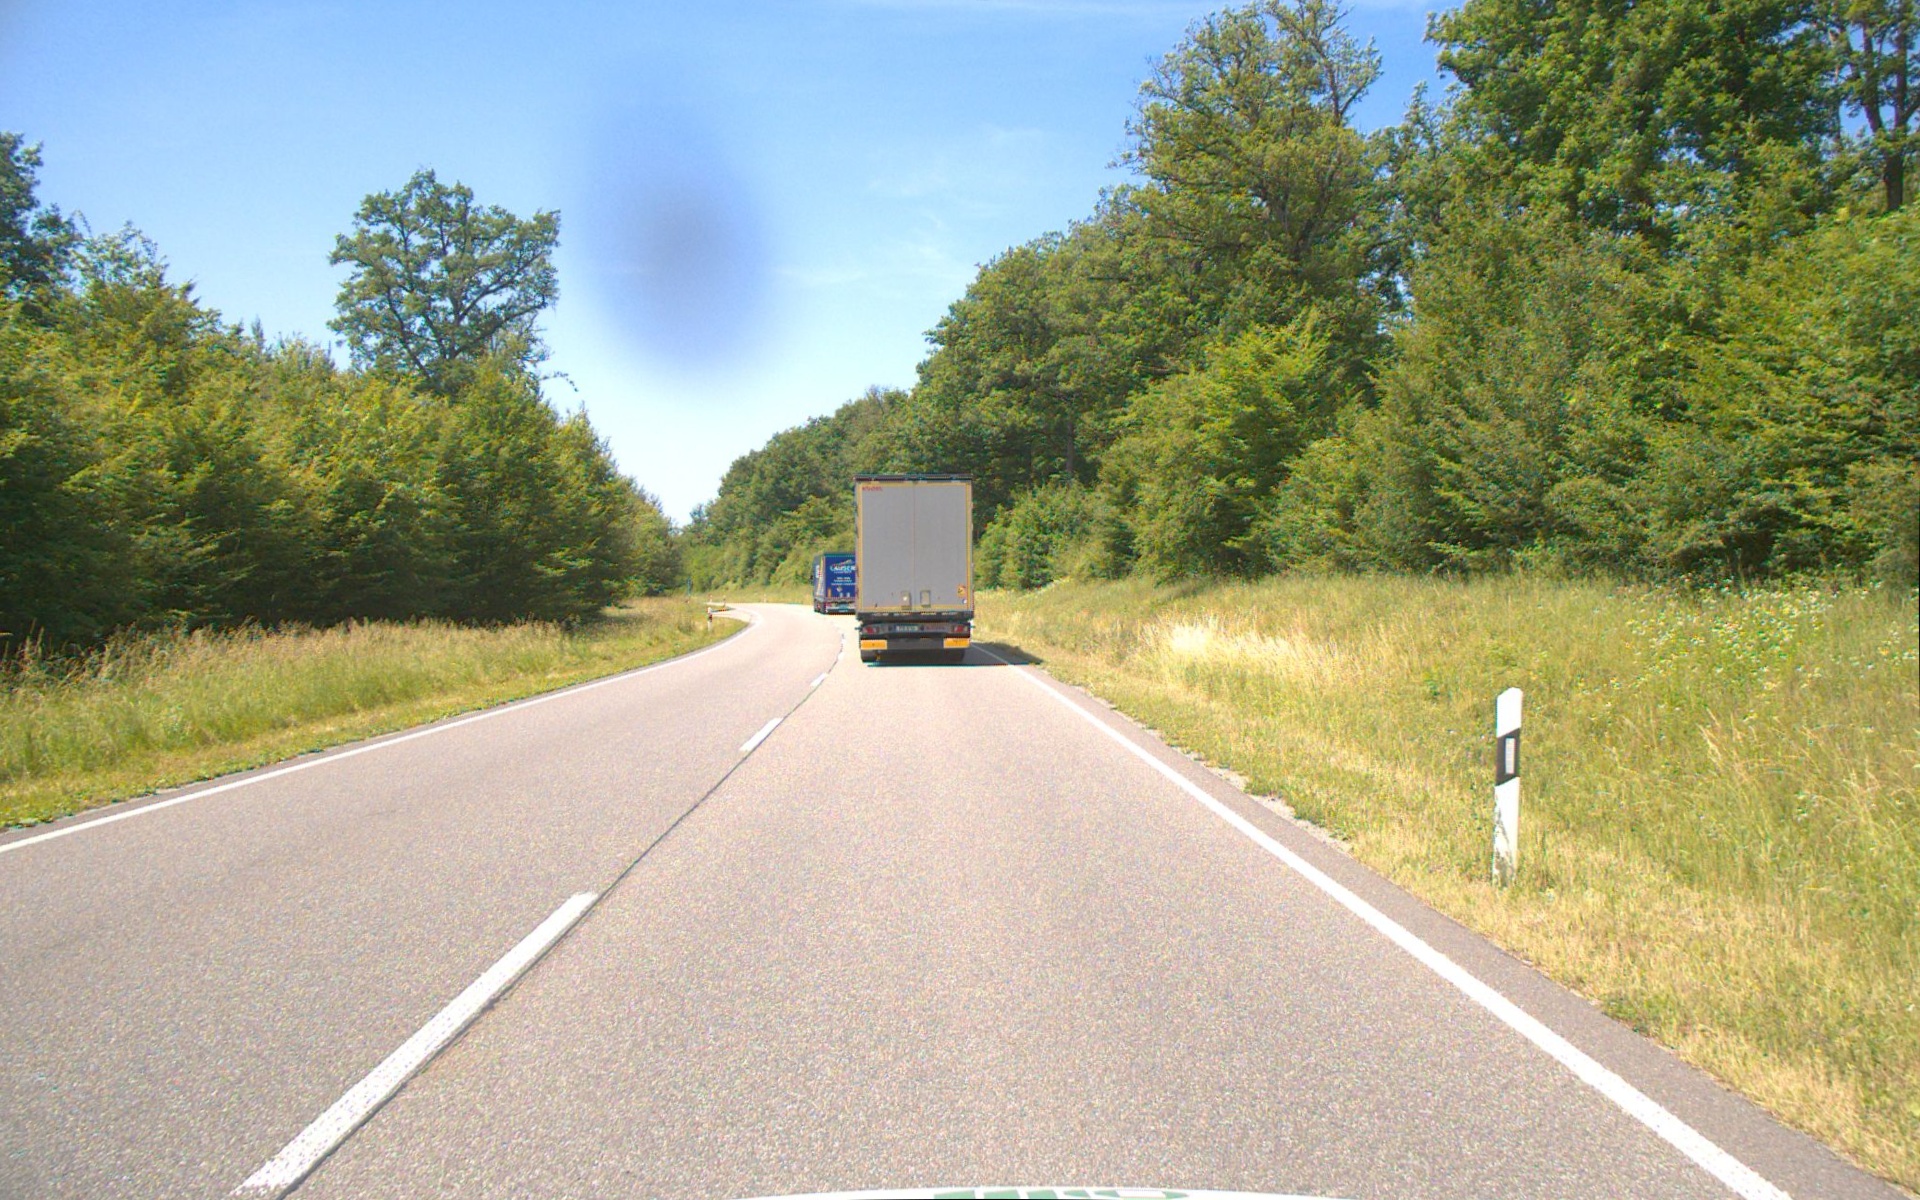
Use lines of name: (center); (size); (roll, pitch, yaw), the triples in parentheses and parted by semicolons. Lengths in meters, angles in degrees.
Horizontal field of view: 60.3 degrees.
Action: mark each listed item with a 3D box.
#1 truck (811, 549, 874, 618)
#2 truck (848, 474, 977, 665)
truck: (-8.268, -1.085, 114.595); (3.721, 4.449, 14.899); (0, 0, -6)
truck: (-1.182, -0.673, 40.836); (2.705, 4.016, 12.193); (0, 0, -2)
